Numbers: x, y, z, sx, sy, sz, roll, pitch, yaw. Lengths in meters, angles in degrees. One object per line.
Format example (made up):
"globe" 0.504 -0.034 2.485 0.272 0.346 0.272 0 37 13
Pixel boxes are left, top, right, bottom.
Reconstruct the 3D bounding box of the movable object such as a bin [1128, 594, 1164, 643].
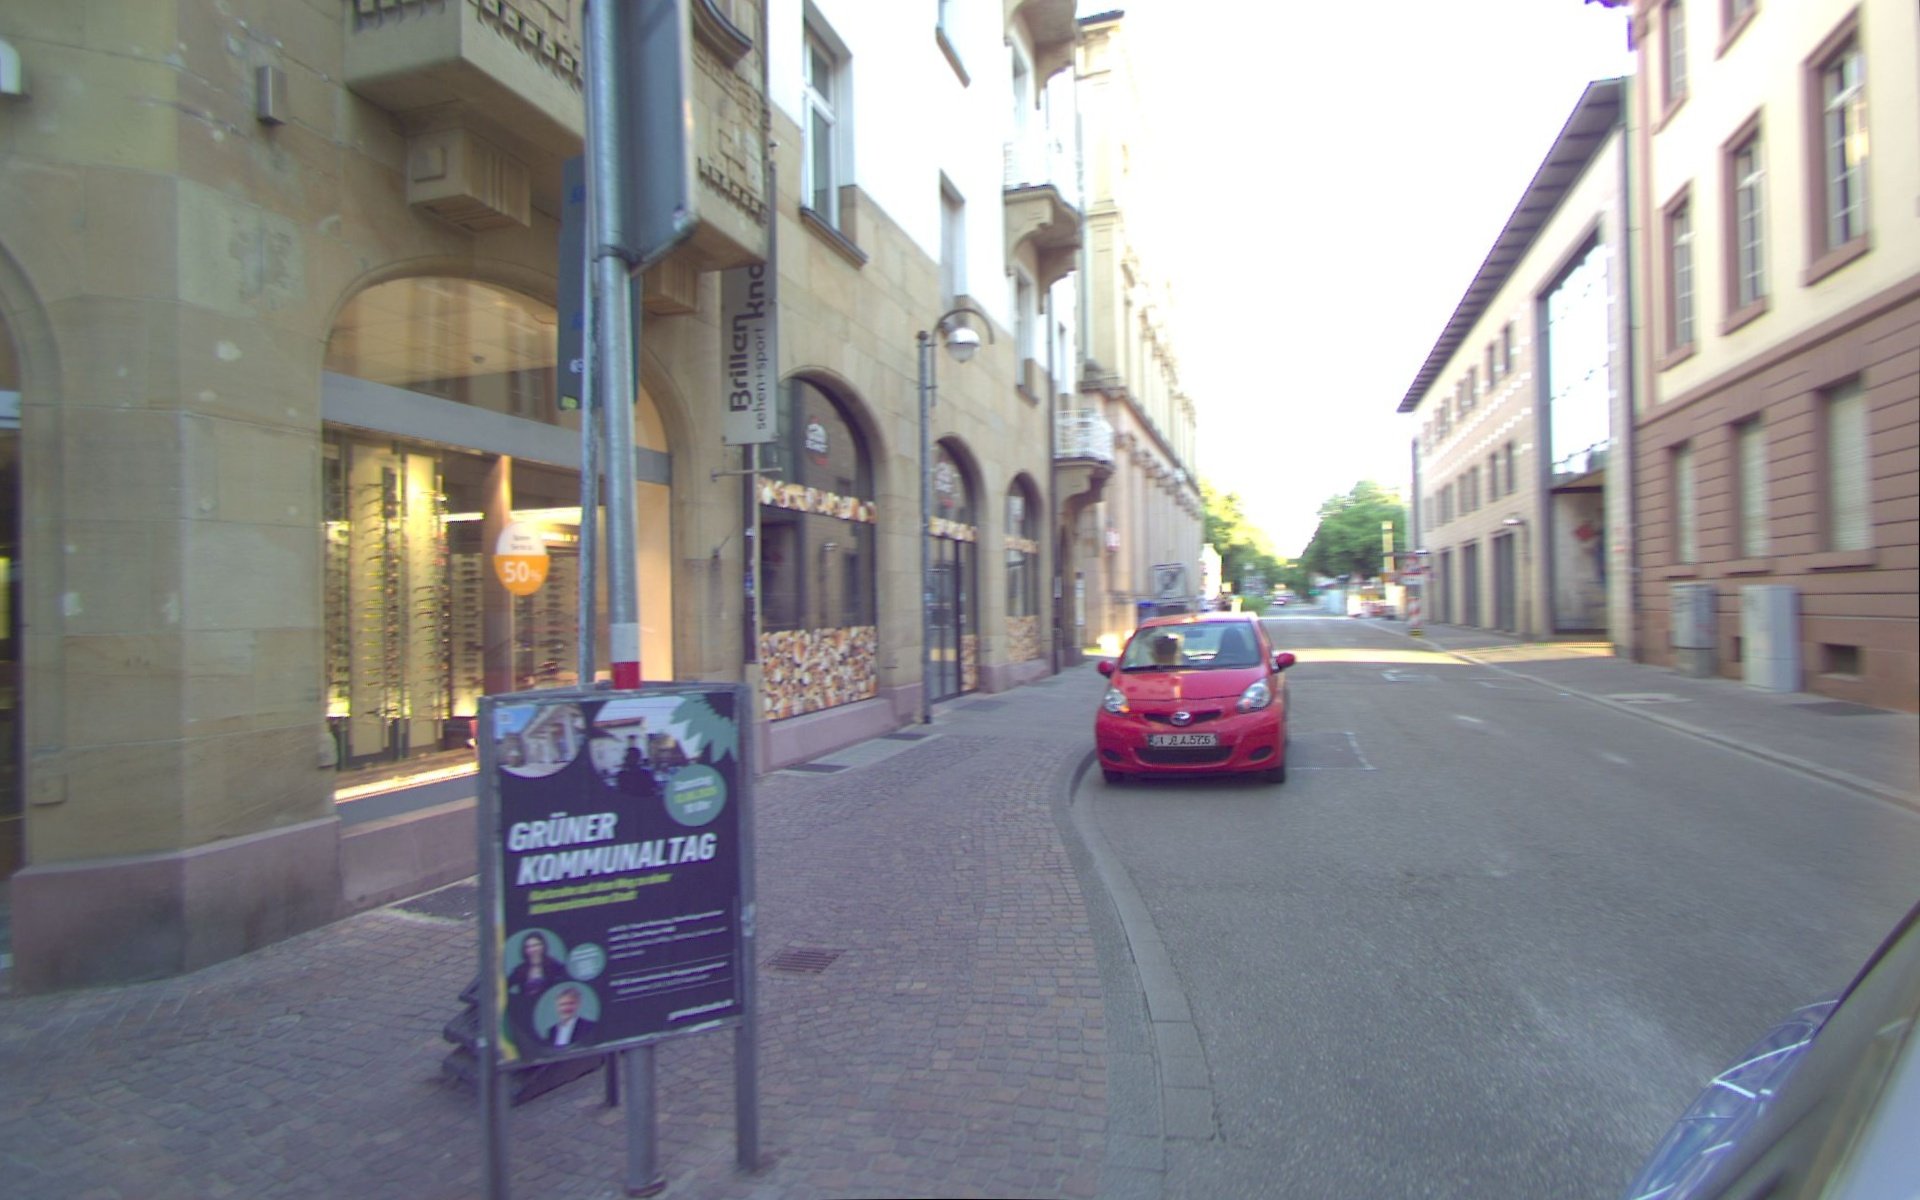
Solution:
"movable object such as a bin" 5.612 0.538 30.483 0.887 1.392 1.131 2 1 17

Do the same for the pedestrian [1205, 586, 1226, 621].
"pedestrian" 12.198 0.153 48.296 0.844 1.618 0.919 3 1 16

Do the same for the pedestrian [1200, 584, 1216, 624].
"pedestrian" 11.490 0.164 46.841 0.640 1.801 0.754 3 1 16

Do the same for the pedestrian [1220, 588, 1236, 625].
"pedestrian" 12.370 0.276 46.669 0.640 1.673 0.754 3 1 16

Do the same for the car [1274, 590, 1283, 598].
"car" 66.730 -1.227 211.969 1.835 1.547 3.976 0 0 19

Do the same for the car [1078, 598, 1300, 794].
"car" 2.322 0.762 9.576 1.598 1.443 3.574 -4 -1 19
